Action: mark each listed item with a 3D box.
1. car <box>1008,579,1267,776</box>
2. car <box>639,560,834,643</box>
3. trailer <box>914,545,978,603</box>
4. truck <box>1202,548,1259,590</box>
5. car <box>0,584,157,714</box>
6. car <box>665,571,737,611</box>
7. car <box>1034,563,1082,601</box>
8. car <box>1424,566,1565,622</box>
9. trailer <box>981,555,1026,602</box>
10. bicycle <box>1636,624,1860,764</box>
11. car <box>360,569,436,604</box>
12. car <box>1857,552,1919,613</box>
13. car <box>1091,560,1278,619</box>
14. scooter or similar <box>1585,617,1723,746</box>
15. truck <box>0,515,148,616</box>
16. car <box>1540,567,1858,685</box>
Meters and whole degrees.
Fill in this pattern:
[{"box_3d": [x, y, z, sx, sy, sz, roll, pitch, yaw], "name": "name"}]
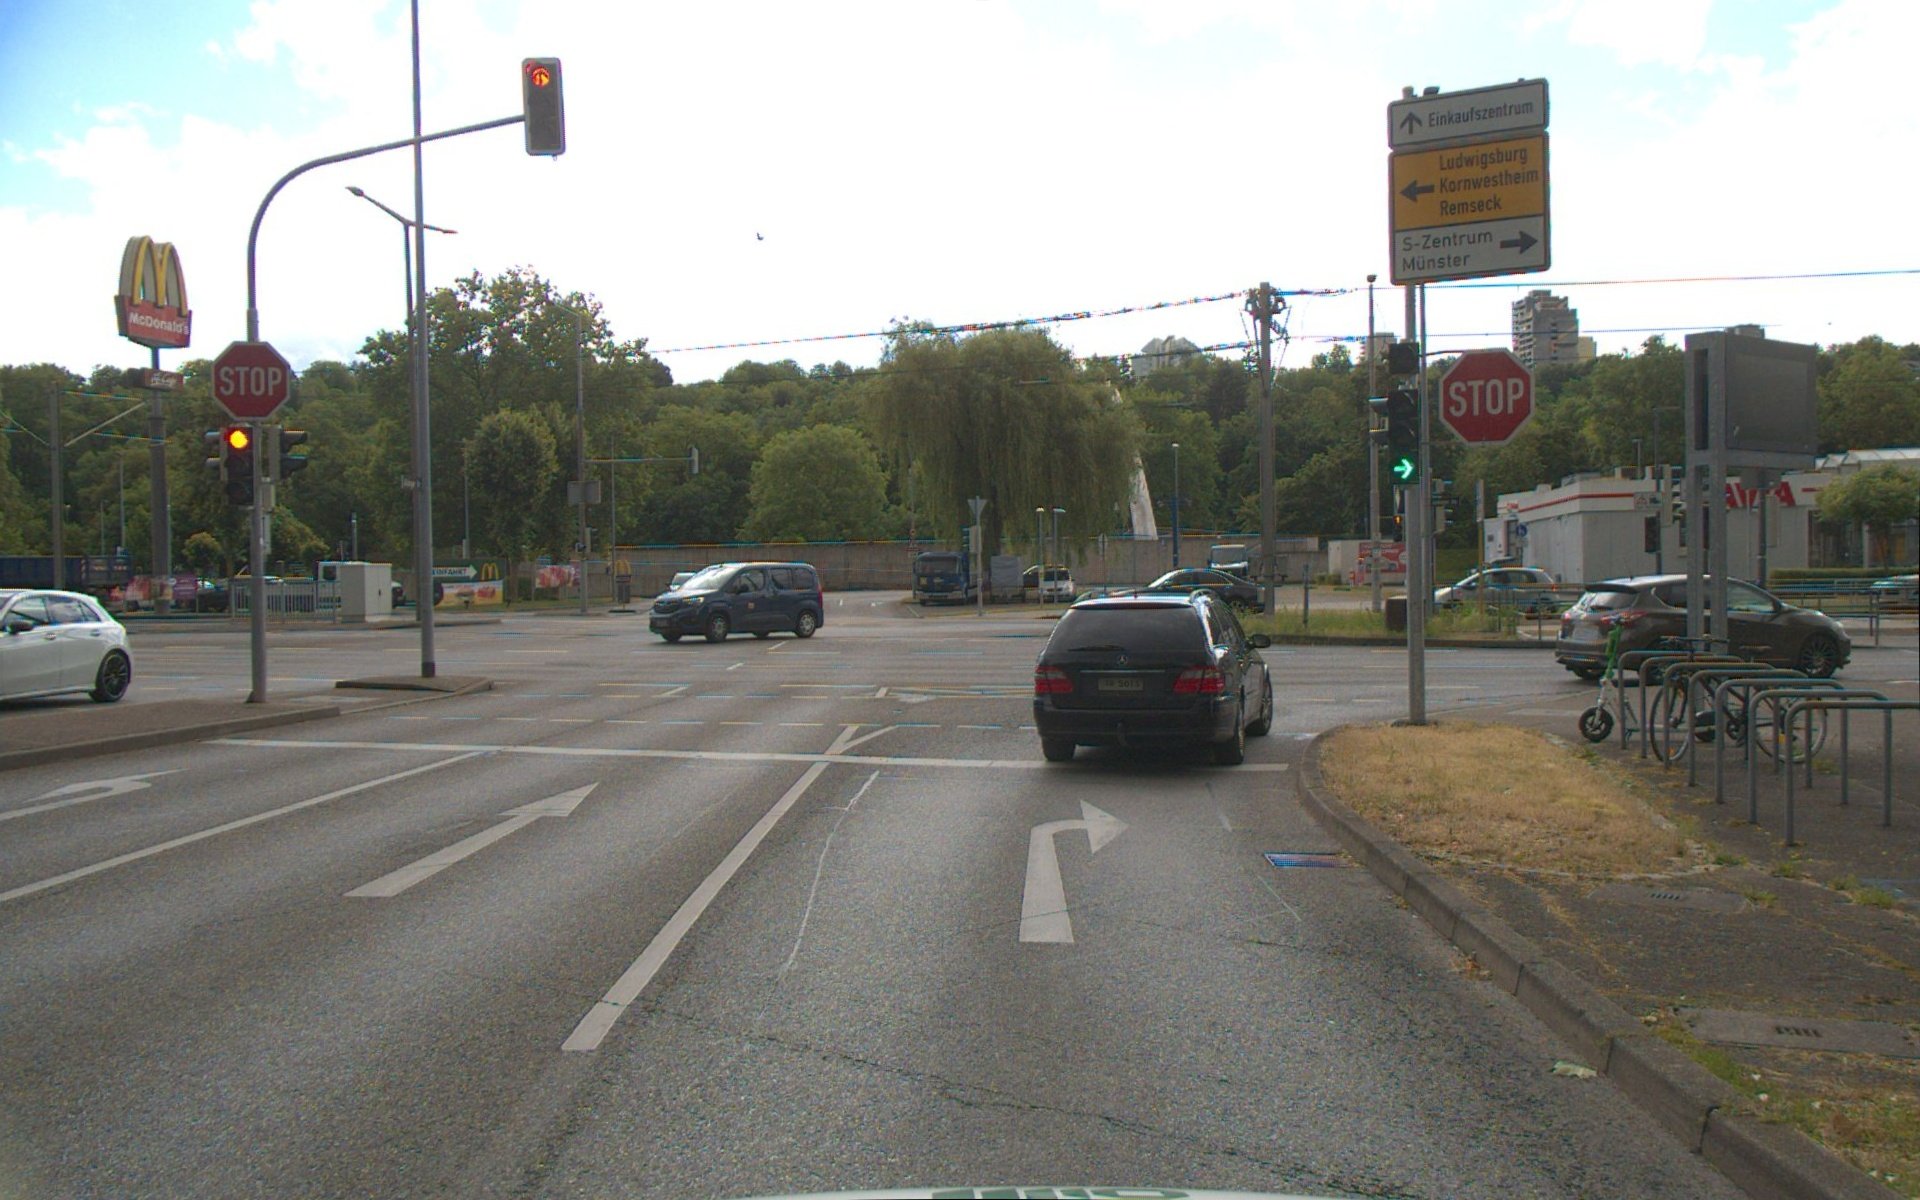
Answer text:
[{"box_3d": [1.840, 0.591, 15.706, 1.783, 1.535, 4.578, 0, 1, 15], "name": "car"}, {"box_3d": [-5.109, -0.010, 38.284, 1.579, 1.805, 4.531, 0, 1, 42], "name": "car"}, {"box_3d": [-0.619, -1.248, 80.575, 2.302, 2.627, 4.924, -2, 0, 9], "name": "trailer"}, {"box_3d": [13.779, -1.554, 84.512, 2.188, 2.049, 5.242, -2, 0, 2], "name": "truck"}, {"box_3d": [-11.484, 0.562, 19.494, 1.566, 1.430, 4.295, -1, 1, 6], "name": "car"}, {"box_3d": [-11.168, -0.414, 71.486, 1.951, 1.668, 4.004, -1, 1, 8], "name": "car"}, {"box_3d": [4.833, -0.916, 81.211, 1.951, 1.780, 4.004, -1, 1, 9], "name": "car"}, {"box_3d": [15.080, -0.171, 46.811, 3.689, 1.534, 1.705, 0, 1, 15], "name": "car"}, {"box_3d": [2.200, -1.062, 82.560, 1.951, 2.222, 4.002, -2, 0, 4], "name": "trailer"}, {"box_3d": [6.664, 0.790, 14.026, 1.654, 1.130, 0.479, -1, 2, 1], "name": "bicycle"}, {"box_3d": [-34.659, -0.844, 102.064, 3.904, 2.049, 2.001, -2, 0, 2], "name": "car"}, {"box_3d": [27.404, -0.494, 45.057, 4.818, 1.628, 2.017, 0, 1, 12], "name": "car"}, {"box_3d": [6.304, -0.300, 46.696, 4.956, 1.550, 1.741, -1, 1, -8], "name": "car"}, {"box_3d": [6.533, 0.762, 15.596, 1.156, 1.190, 0.294, -1, 1, 8], "name": "scooter or similar"}, {"box_3d": [-36.736, -1.242, 64.461, 8.905, 3.650, 3.222, -2, 0, 11], "name": "truck"}, {"box_3d": [10.677, 0.329, 23.938, 4.068, 1.556, 1.725, -1, 1, -16], "name": "car"}]
